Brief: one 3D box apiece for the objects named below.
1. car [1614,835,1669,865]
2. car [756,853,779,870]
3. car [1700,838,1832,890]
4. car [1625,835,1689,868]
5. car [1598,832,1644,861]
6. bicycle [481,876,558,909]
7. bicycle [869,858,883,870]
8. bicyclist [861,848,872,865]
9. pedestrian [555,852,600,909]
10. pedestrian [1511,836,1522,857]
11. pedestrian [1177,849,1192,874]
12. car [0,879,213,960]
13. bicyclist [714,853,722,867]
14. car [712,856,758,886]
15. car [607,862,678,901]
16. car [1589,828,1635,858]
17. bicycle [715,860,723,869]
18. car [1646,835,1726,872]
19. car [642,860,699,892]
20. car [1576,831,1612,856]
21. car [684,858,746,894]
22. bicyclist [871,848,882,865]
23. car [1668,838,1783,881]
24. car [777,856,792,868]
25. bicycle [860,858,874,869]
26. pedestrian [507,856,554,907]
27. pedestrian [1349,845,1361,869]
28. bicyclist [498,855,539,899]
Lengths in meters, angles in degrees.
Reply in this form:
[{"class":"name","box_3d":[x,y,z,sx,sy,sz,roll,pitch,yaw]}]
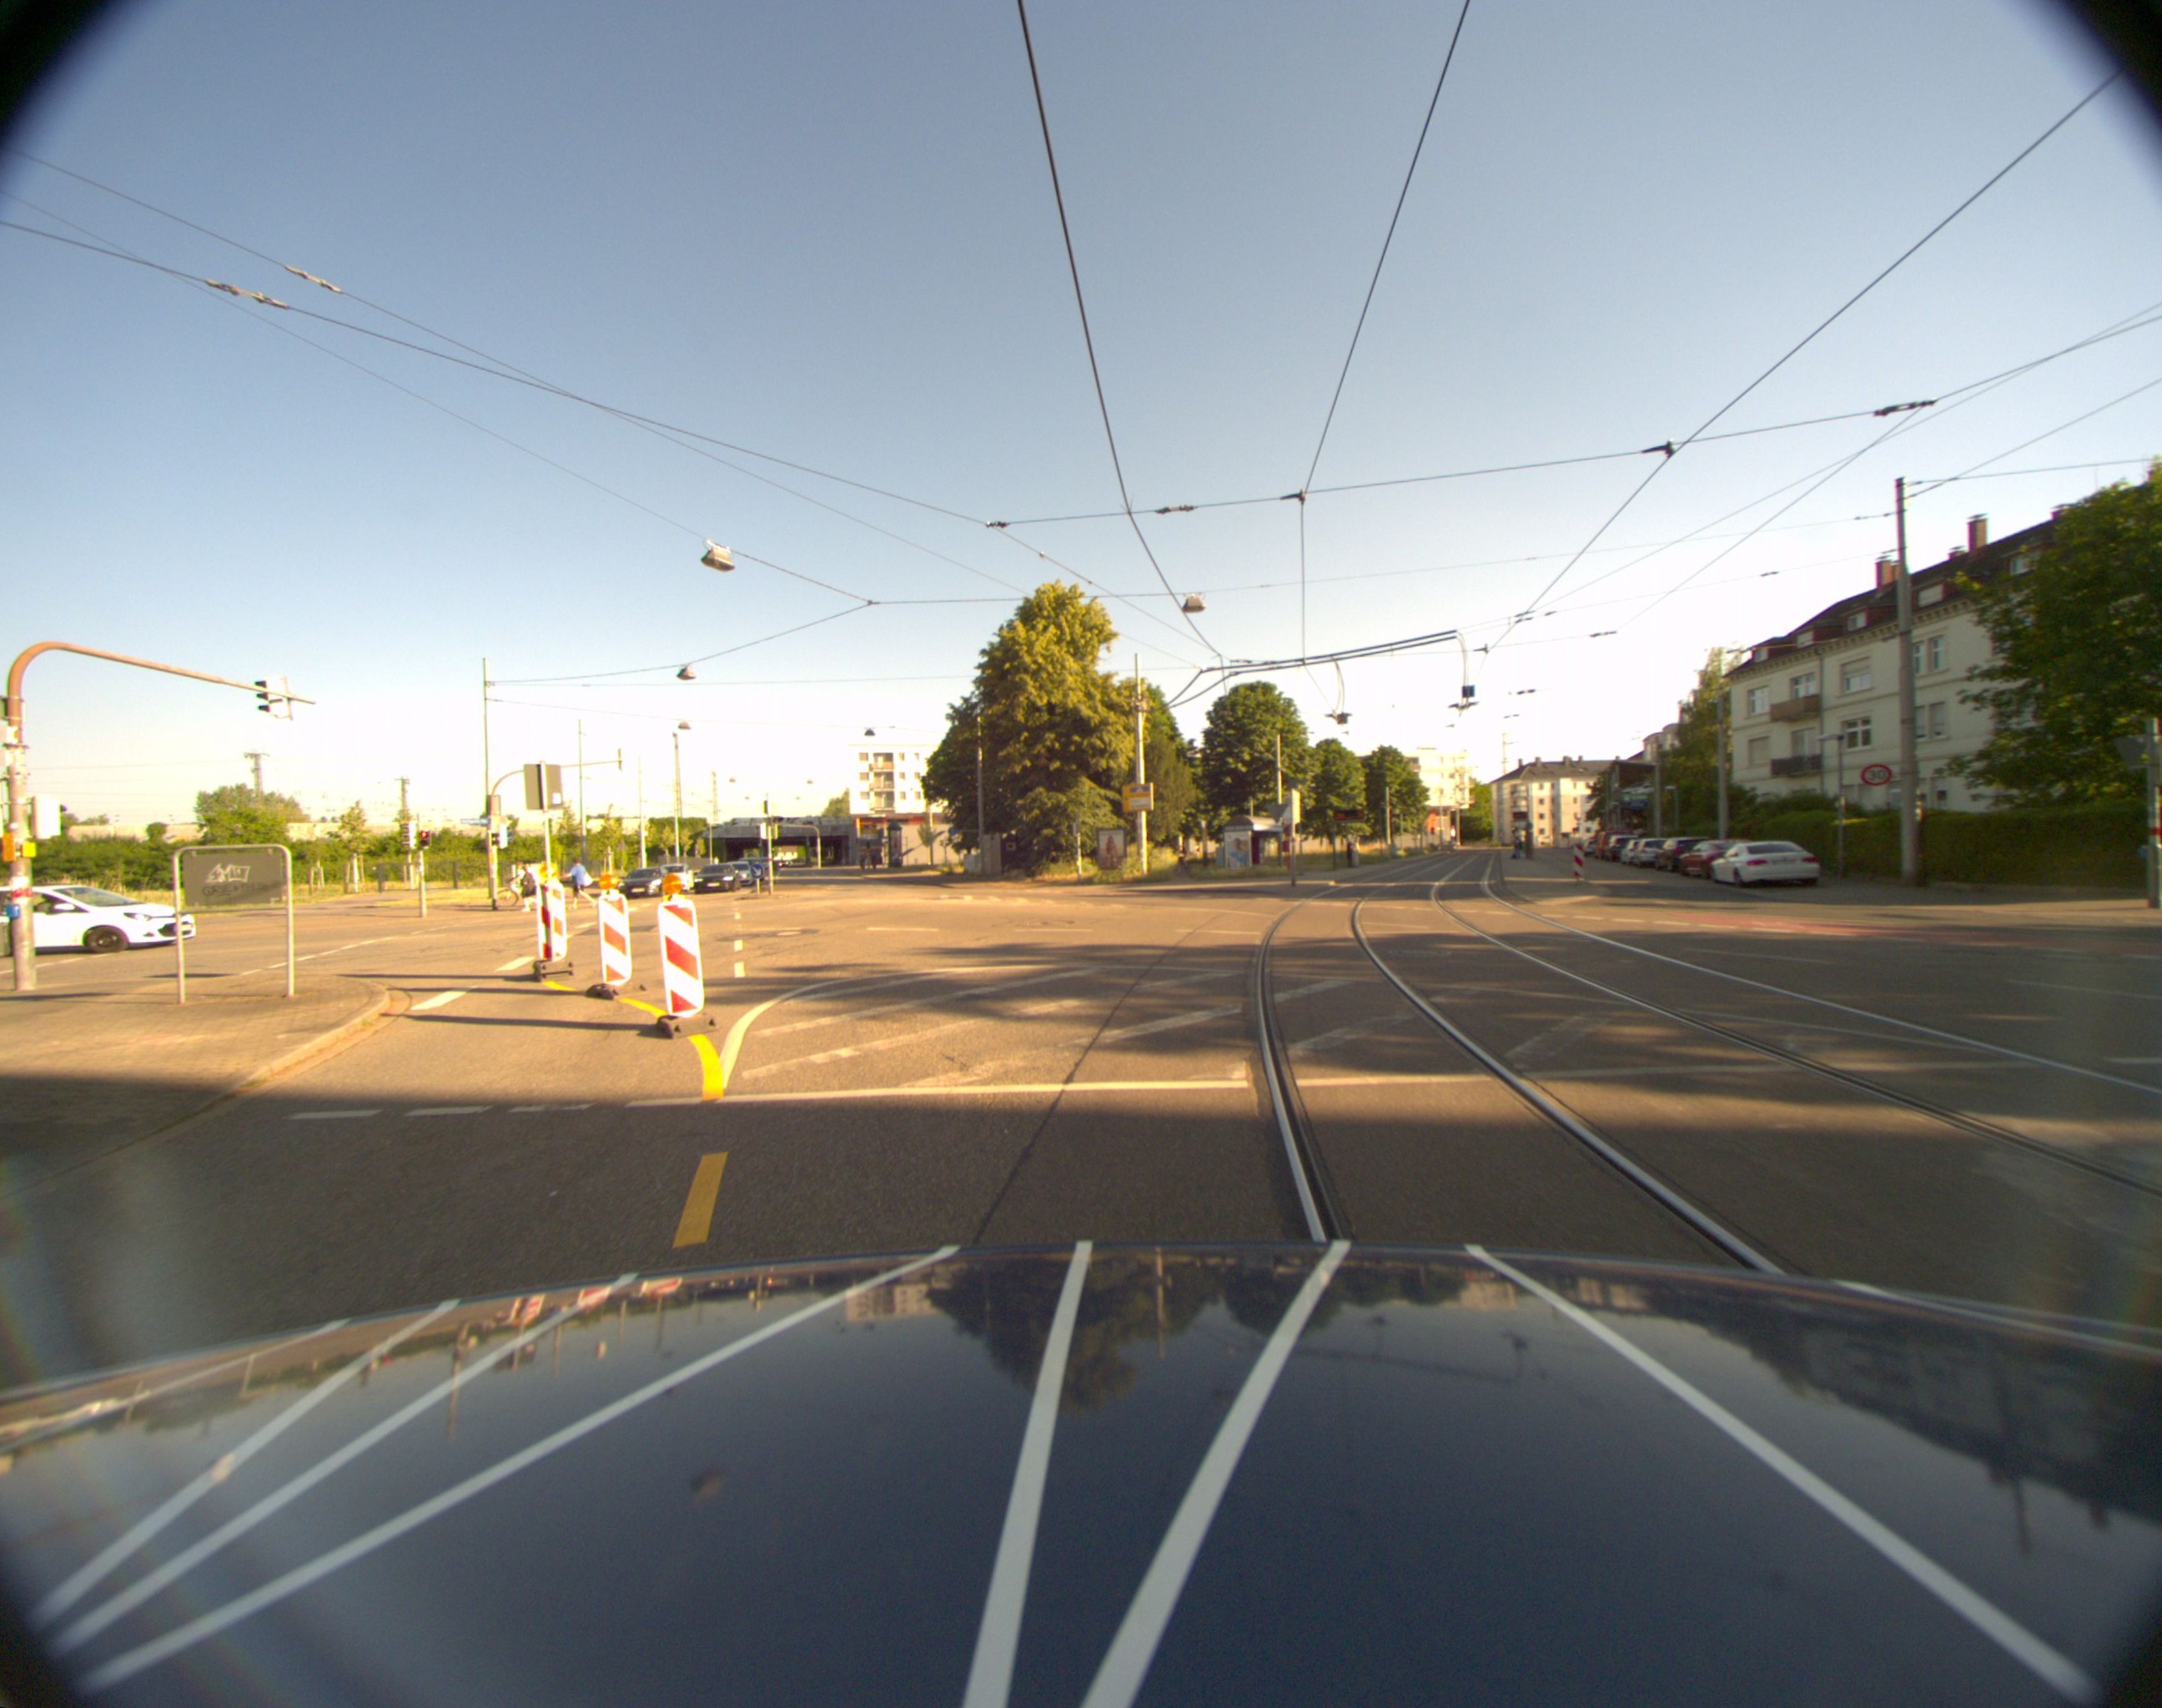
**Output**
[{"class":"car","box_3d":[30.894,-0.243,41.986,1.840,1.439,3.965,-4,0,29]},{"class":"car","box_3d":[-34.015,0.791,82.474,2.002,1.694,3.993,-2,1,-19]},{"class":"car","box_3d":[21.322,0.273,23.885,1.926,1.368,4.504,-4,0,27]},{"class":"car","box_3d":[28.664,-0.161,37.932,1.982,1.439,3.725,-4,0,29]},{"class":"car","box_3d":[34.594,-0.490,48.814,1.840,1.658,4.377,-4,0,29]},{"class":"bicycle","box_3d":[-21.520,1.474,29.165,2.203,1.136,0.699,-2,1,-17]},{"class":"bicycle","box_3d":[-19.143,0.939,71.021,0.664,1.063,2.014,-2,1,-31]},{"class":"bicyclist","box_3d":[-19.826,0.265,70.287,0.699,1.523,1.035,-2,1,-31]},{"class":"pedestrian","box_3d":[-17.720,0.912,26.764,1.068,1.914,0.913,-2,1,-18]},{"class":"pedestrian","box_3d":[31.584,-0.527,55.073,0.566,1.492,0.680,-1,1,41]},{"class":"pedestrian","box_3d":[6.148,0.433,45.107,0.671,1.484,0.849,-1,1,-5]},{"class":"car","box_3d":[-21.418,1.360,15.957,3.779,1.460,1.703,-2,1,-22]},{"class":"bicyclist","box_3d":[-43.999,0.744,92.175,0.778,1.596,0.856,-1,0,-22]},{"class":"car","box_3d":[-20.560,0.962,45.294,2.001,1.558,4.449,-2,1,-19]},{"class":"car","box_3d":[-20.557,1.217,35.790,2.001,1.558,4.268,-3,1,-19]},{"class":"car","box_3d":[37.919,-0.815,54.354,2.051,1.950,5.160,-4,0,29]},{"class":"bicycle","box_3d":[-43.967,1.291,92.179,0.664,1.063,2.015,-2,1,-21]},{"class":"car","box_3d":[26.744,-0.062,33.758,1.982,1.439,4.713,-4,0,29]},{"class":"car","box_3d":[-22.535,1.147,41.861,2.001,1.558,4.268,-2,1,-19]},{"class":"car","box_3d":[45.030,-0.939,66.829,2.051,1.950,5.160,-4,0,29]},{"class":"car","box_3d":[-17.969,1.022,37.522,2.055,1.558,4.443,-2,1,-17]},{"class":"bicyclist","box_3d":[-19.088,0.254,71.005,0.662,1.523,1.035,-2,1,-31]},{"class":"car","box_3d":[23.909,0.148,28.419,1.982,1.368,4.712,-4,0,24]},{"class":"car","box_3d":[-46.242,1.225,118.363,2.002,1.694,3.992,-2,1,-23]},{"class":"bicycle","box_3d":[-19.800,0.867,70.267,0.664,1.063,2.014,-2,1,-30]},{"class":"pedestrian","box_3d":[-19.621,0.961,27.089,1.068,1.737,0.913,-2,1,-18]},{"class":"pedestrian","box_3d":[16.260,0.162,45.071,0.596,1.419,0.506,-1,1,21]},{"class":"bicyclist","box_3d":[-21.563,0.864,29.142,1.042,1.620,0.712,-2,1,-17]}]
